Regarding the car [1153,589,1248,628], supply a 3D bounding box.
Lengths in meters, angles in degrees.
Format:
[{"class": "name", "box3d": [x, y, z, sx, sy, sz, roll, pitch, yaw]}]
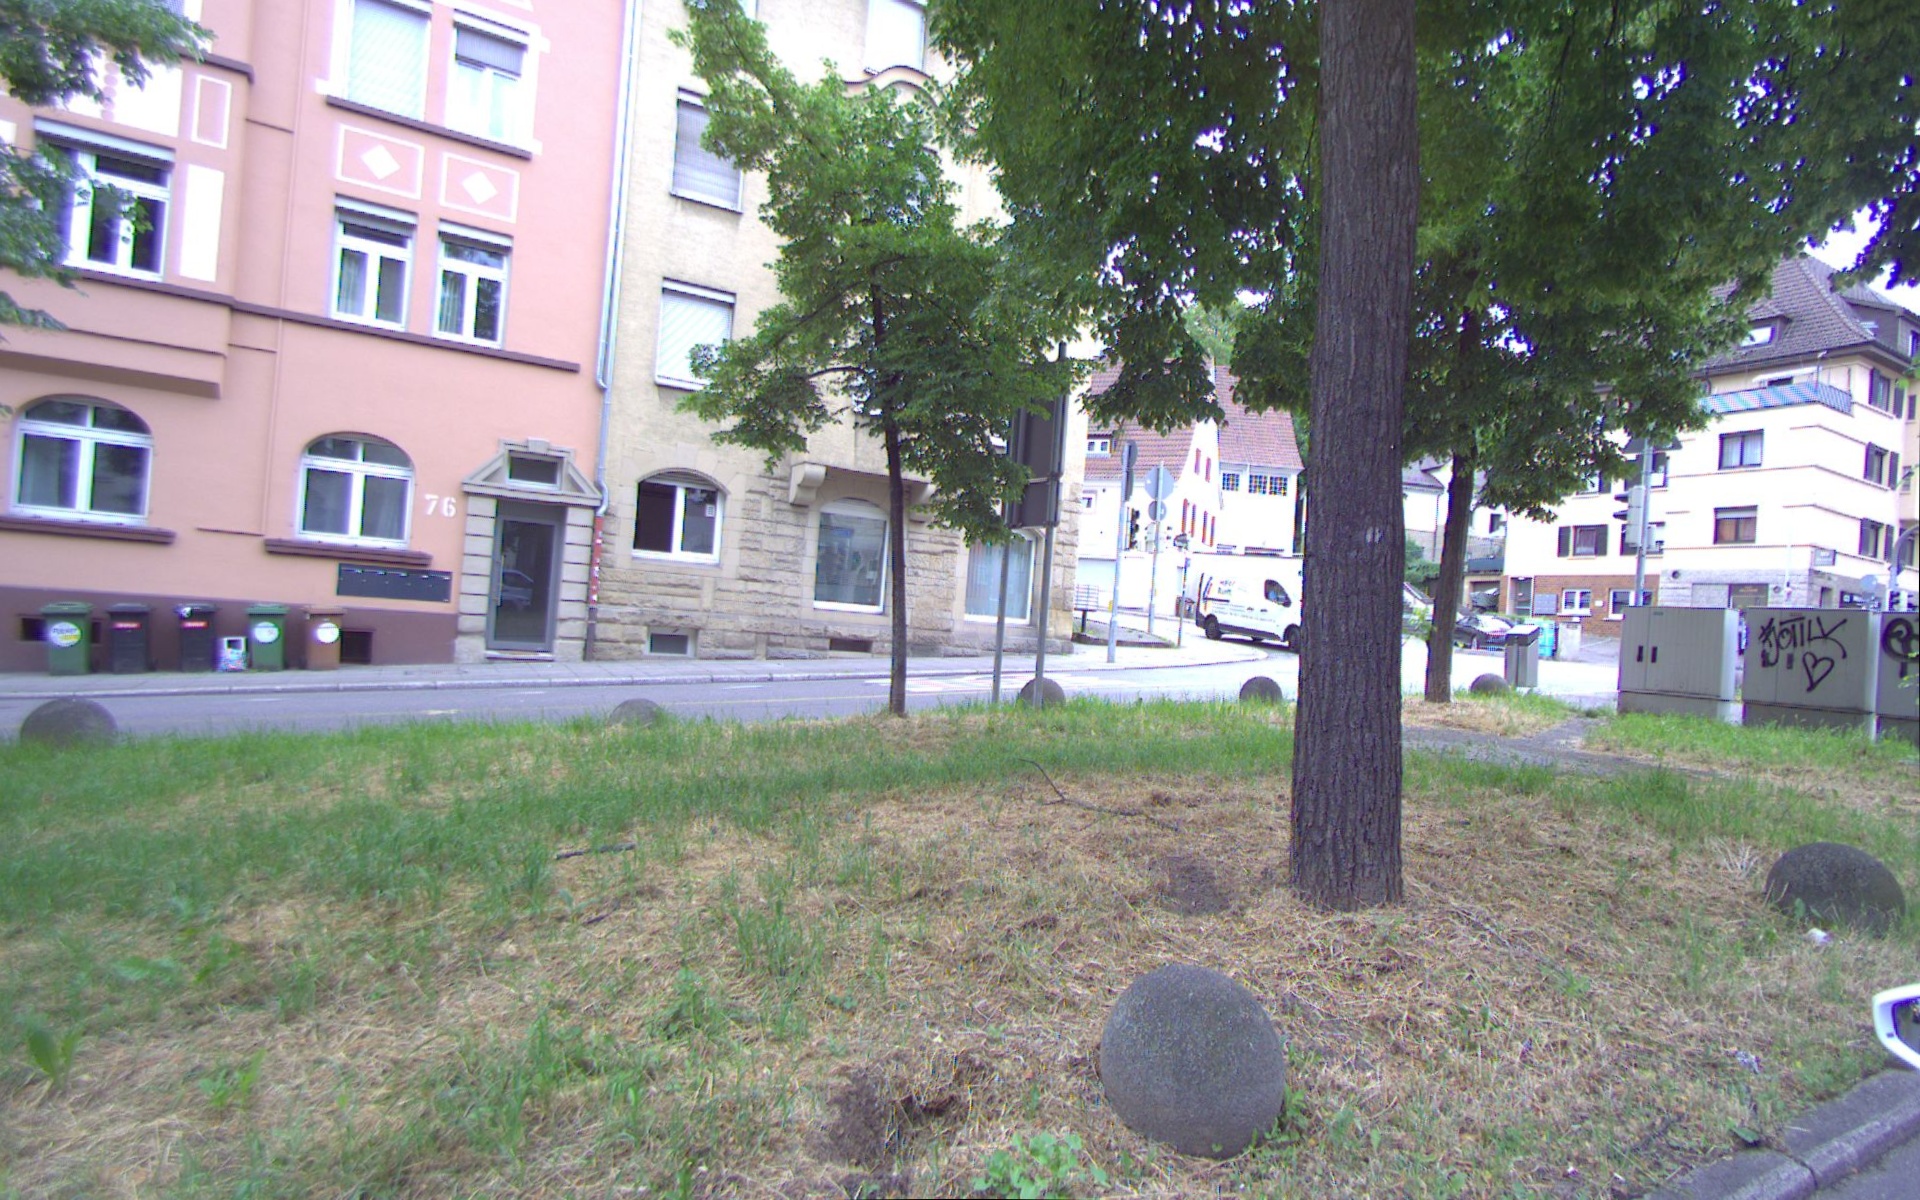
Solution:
[{"class": "car", "box3d": [10.638, 0.360, 44.465, 3.920, 1.530, 1.800, 2, 1, 18]}]

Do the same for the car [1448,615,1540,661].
[{"class": "car", "box3d": [21.829, 1.533, 41.241, 1.844, 1.687, 4.002, 3, -1, 5]}]

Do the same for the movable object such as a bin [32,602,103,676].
[{"class": "movable object such as a bin", "box3d": [-11.685, 0.498, 13.168, 0.595, 0.916, 0.605, 1, 2, -33]}]

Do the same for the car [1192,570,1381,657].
[{"class": "car", "box3d": [8.810, 0.283, 27.656, 1.968, 2.092, 5.154, 2, 1, -23]}]

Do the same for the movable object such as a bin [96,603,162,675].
[{"class": "movable object such as a bin", "box3d": [-11.146, 0.516, 13.490, 0.595, 0.916, 0.605, 1, 2, -33]}]

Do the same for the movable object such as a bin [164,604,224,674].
[{"class": "movable object such as a bin", "box3d": [-10.549, 0.532, 13.849, 0.595, 0.916, 0.605, 1, 2, -33]}]

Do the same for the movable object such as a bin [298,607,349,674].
[{"class": "movable object such as a bin", "box3d": [-9.219, 0.578, 14.565, 0.595, 0.916, 0.605, 1, 2, -33]}]

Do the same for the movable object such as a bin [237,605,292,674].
[{"class": "movable object such as a bin", "box3d": [-9.843, 0.553, 14.230, 0.595, 0.916, 0.605, 1, 2, -33]}]
